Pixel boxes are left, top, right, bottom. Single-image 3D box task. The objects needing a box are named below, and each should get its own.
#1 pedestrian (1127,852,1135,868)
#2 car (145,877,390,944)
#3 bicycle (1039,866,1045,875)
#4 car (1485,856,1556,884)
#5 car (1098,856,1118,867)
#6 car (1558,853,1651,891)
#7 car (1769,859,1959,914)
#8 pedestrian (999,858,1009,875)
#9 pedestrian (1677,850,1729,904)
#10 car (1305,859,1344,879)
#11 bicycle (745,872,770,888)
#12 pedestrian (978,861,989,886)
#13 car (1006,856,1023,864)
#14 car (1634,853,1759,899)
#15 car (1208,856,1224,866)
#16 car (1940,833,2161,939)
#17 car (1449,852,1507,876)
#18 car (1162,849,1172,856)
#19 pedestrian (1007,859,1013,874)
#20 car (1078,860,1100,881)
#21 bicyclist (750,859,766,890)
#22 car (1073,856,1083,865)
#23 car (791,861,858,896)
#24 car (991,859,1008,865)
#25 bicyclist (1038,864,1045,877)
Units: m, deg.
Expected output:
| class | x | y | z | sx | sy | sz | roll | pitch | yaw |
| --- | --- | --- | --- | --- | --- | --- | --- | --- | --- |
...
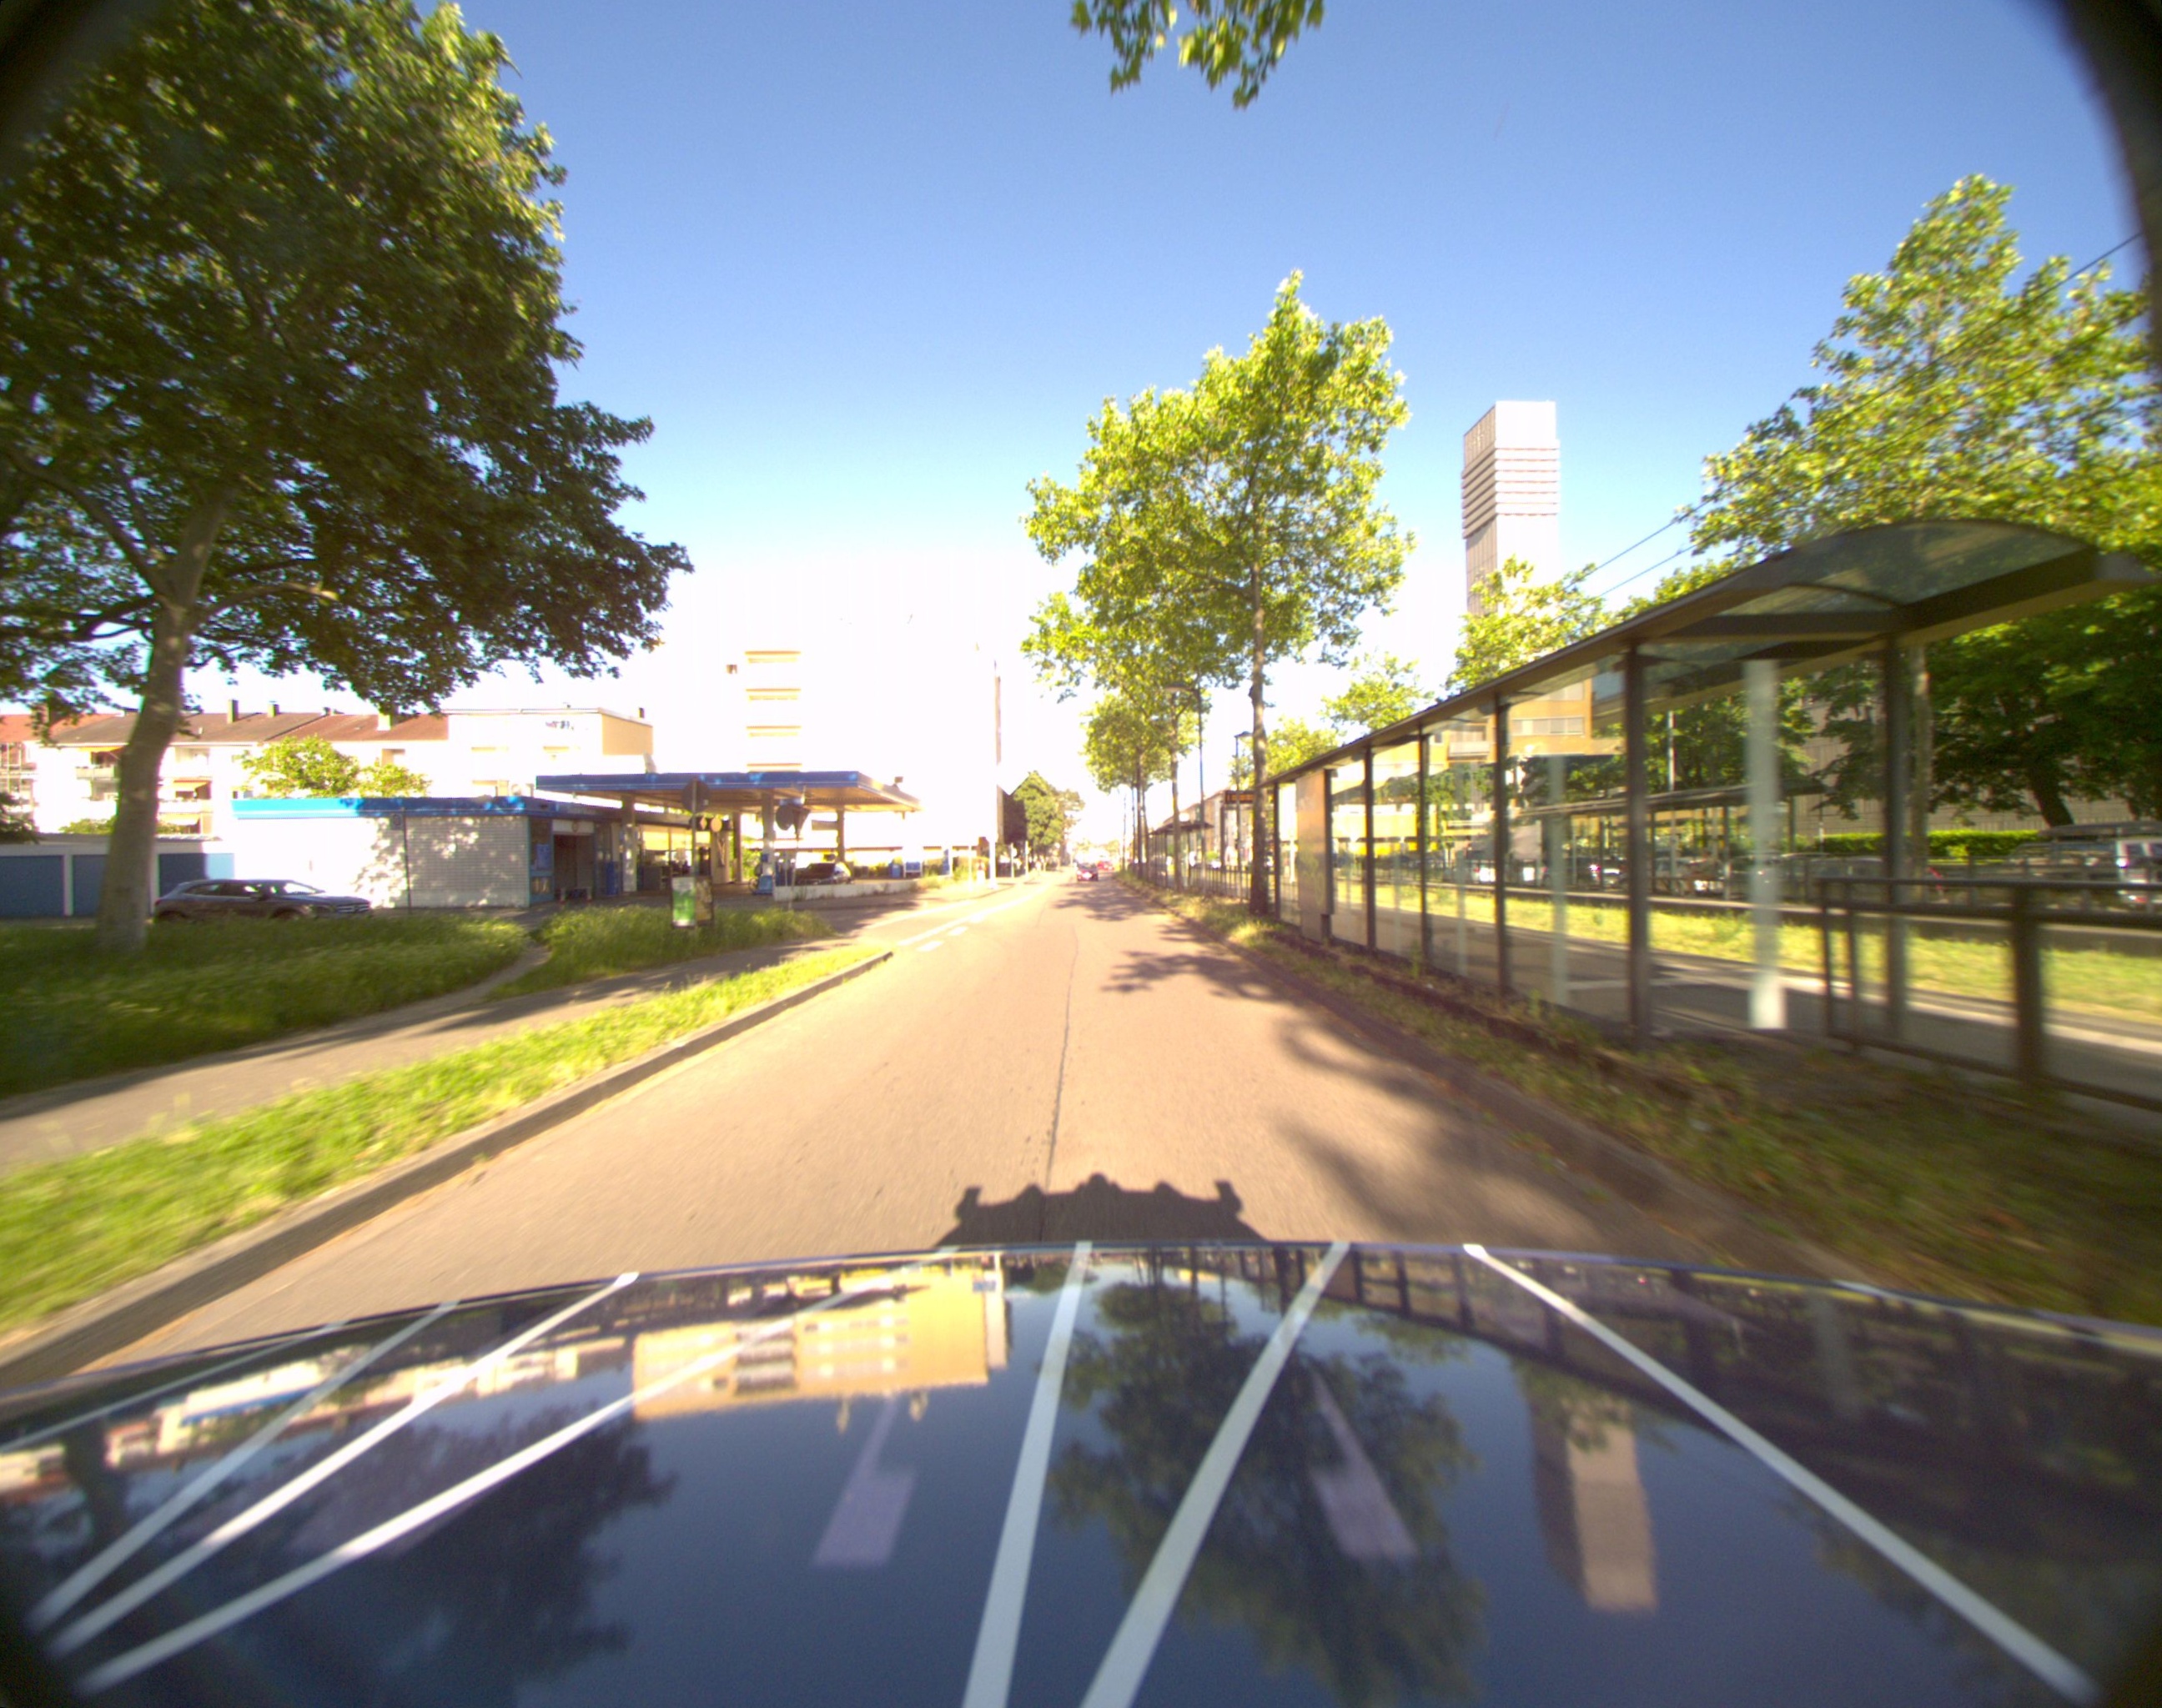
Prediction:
| class | x | y | z | sx | sy | sz | roll | pitch | yaw |
| --- | --- | --- | --- | --- | --- | --- | --- | --- | --- |
| pedestrian | 4.592 | 0.542 | 69.827 | 0.660 | 1.520 | 0.538 | -1 | 1 | -7 |
| car | -21.170 | 1.436 | 19.937 | 4.201 | 1.522 | 1.983 | -1 | 0 | -1 |
| bicycle | -4.316 | 1.825 | 83.450 | 0.684 | 0.925 | 1.735 | -1 | 0 | -3 |
| car | 23.636 | 0.829 | 41.024 | 1.598 | 1.436 | 3.930 | -1 | 0 | 1 |
| car | 3.873 | 1.080 | 110.074 | 1.545 | 1.522 | 3.597 | -3 | 1 | -20 |
| car | 23.831 | 0.807 | 34.732 | 1.598 | 1.623 | 3.930 | -1 | 0 | 1 |
| car | 23.448 | 0.911 | 22.997 | 1.598 | 1.480 | 4.020 | -1 | 0 | 0 |
| pedestrian | -8.028 | 1.287 | 79.262 | 0.790 | 1.817 | 1.032 | 0 | 1 | -17 |
| pedestrian | 15.101 | 0.557 | 18.467 | 0.838 | 1.253 | 0.801 | -2 | 0 | 29 |
| car | 17.844 | 1.084 | 55.846 | 1.609 | 1.419 | 3.536 | -1 | 0 | -1 |
| bicycle | -16.082 | 1.294 | 37.815 | 0.540 | 0.711 | 1.708 | -1 | 0 | -1 |
| pedestrian | -6.609 | 1.321 | 51.614 | 0.605 | 1.691 | 0.552 | -1 | 0 | 4 |
| car | -12.244 | 1.116 | 140.313 | 1.997 | 1.316 | 4.280 | -1 | 0 | 10 |
| car | 23.466 | 0.808 | 29.171 | 1.598 | 1.626 | 3.930 | -1 | 0 | 0 |
| car | 18.804 | 0.970 | 105.717 | 1.329 | 1.317 | 3.415 | -1 | 0 | -6 |
| car | 23.518 | 0.680 | 18.081 | 1.718 | 2.249 | 3.933 | -1 | 0 | 0 |
| car | 21.256 | 0.513 | 40.804 | 1.266 | 1.234 | 3.376 | -1 | 0 | -1 |
| car | 23.312 | -0.461 | 207.014 | 2.144 | 1.697 | 5.402 | -1 | 0 | 1 |
| pedestrian | -7.425 | 1.267 | 79.455 | 0.505 | 1.537 | 0.518 | 0 | 1 | -17 |
| car | 0.646 | 1.225 | 58.459 | 1.619 | 1.536 | 4.277 | -1 | 0 | 1 |
| bicyclist | -16.087 | 1.016 | 37.863 | 0.540 | 1.511 | 0.629 | -1 | 0 | -1 |
| car | -0.701 | 1.474 | 166.687 | 1.998 | 1.806 | 4.000 | -2 | 0 | 0 |
| car | -11.698 | 1.066 | 34.910 | 1.725 | 1.454 | 4.005 | -1 | 0 | 0 |
| car | -15.107 | 1.403 | 140.652 | 1.997 | 1.060 | 4.280 | -1 | 0 | 10 |
| bicyclist | -4.325 | 1.809 | 83.502 | 0.678 | 1.466 | 0.936 | -1 | 0 | -4 |
